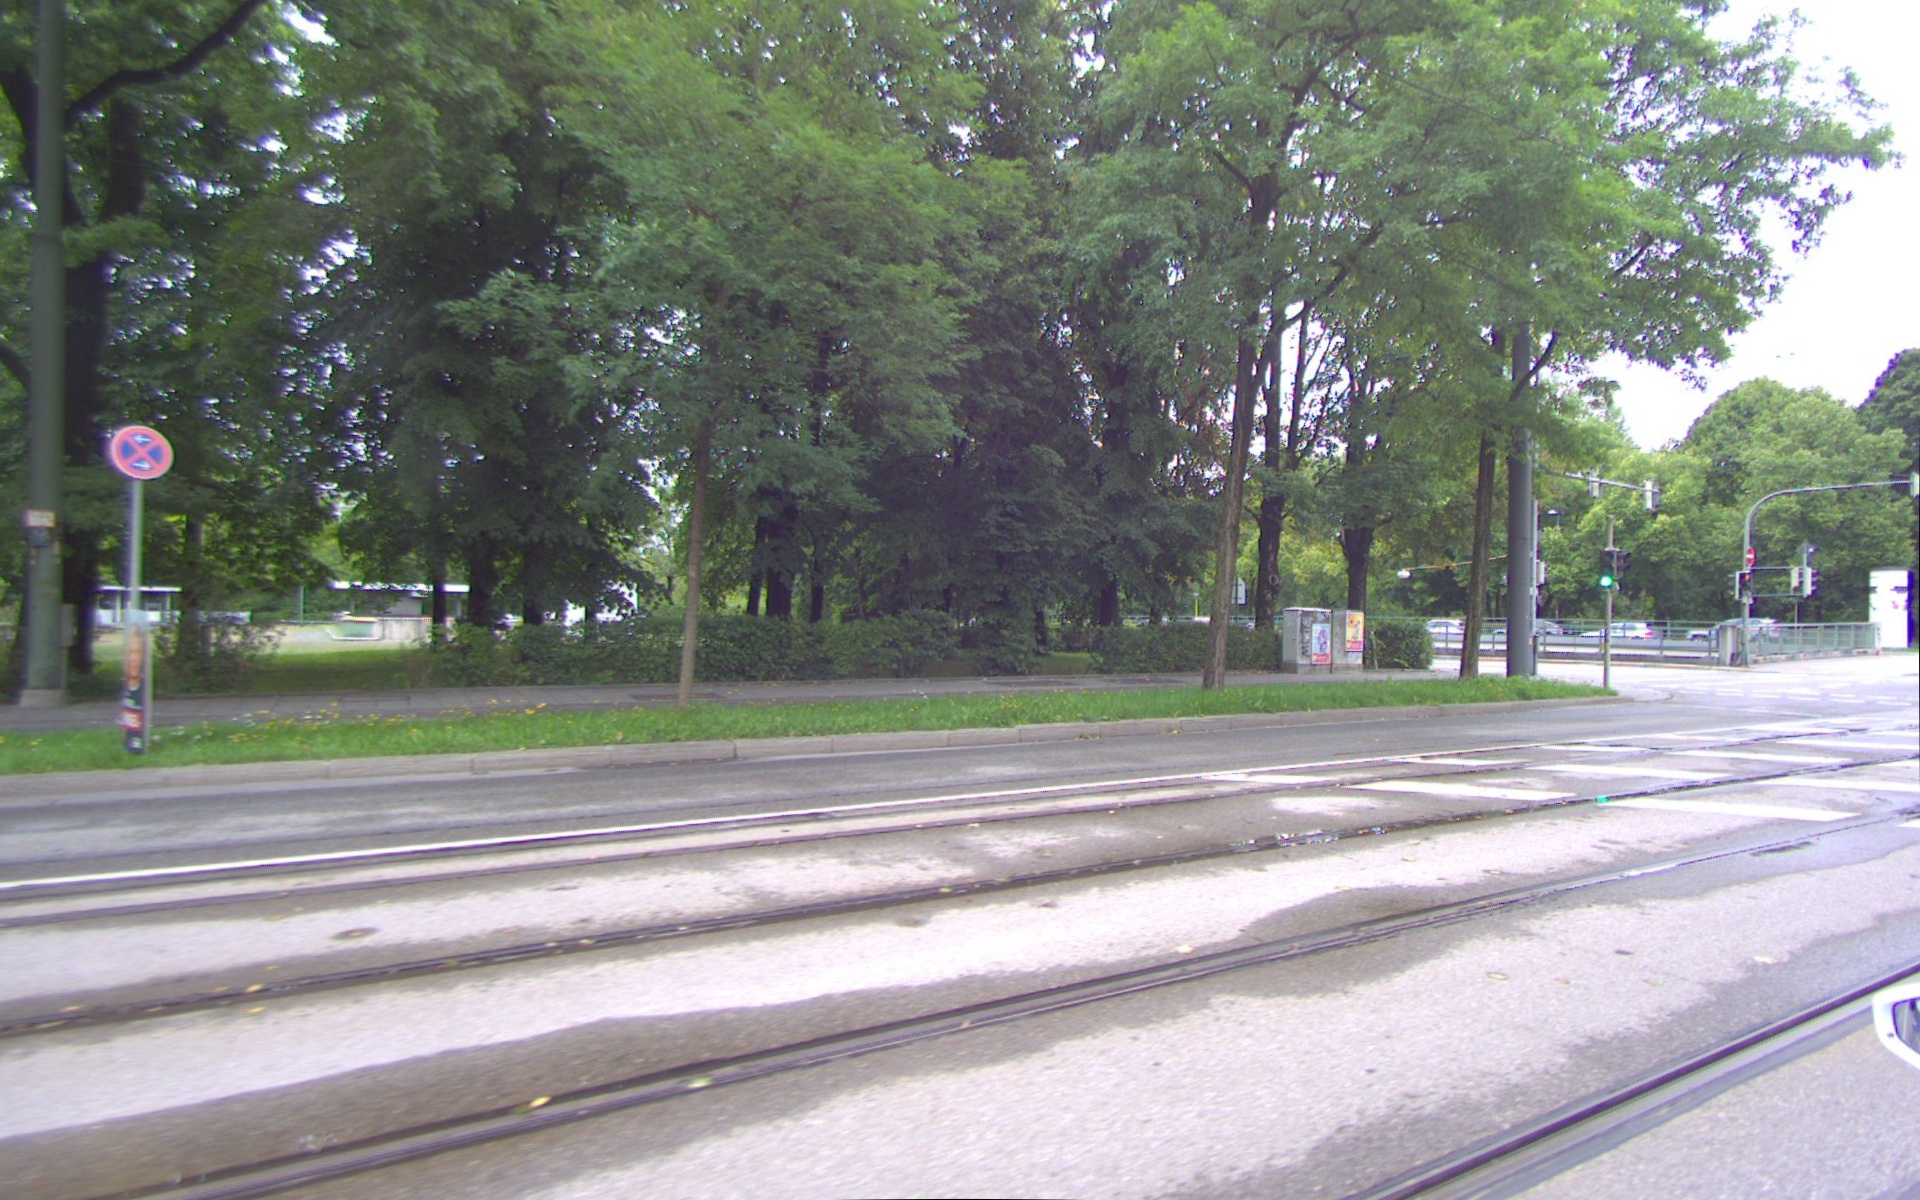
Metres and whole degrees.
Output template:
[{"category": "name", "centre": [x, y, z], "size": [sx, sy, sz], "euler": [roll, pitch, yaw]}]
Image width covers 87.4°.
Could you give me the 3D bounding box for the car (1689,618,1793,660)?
[{"category": "car", "centre": [40.674, 2.003, 52.402], "size": [1.476, 1.912, 3.994], "euler": [2, 1, -36]}]

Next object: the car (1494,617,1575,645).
[{"category": "car", "centre": [34.927, 1.882, 61.121], "size": [1.703, 1.423, 3.900], "euler": [2, 1, -34]}]

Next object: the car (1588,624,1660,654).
[{"category": "car", "centre": [37.363, 2.159, 56.545], "size": [1.238, 1.471, 3.090], "euler": [2, 1, -34]}]

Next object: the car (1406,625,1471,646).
[{"category": "car", "centre": [31.504, 2.331, 66.183], "size": [1.238, 1.201, 3.704], "euler": [2, 1, -34]}]
